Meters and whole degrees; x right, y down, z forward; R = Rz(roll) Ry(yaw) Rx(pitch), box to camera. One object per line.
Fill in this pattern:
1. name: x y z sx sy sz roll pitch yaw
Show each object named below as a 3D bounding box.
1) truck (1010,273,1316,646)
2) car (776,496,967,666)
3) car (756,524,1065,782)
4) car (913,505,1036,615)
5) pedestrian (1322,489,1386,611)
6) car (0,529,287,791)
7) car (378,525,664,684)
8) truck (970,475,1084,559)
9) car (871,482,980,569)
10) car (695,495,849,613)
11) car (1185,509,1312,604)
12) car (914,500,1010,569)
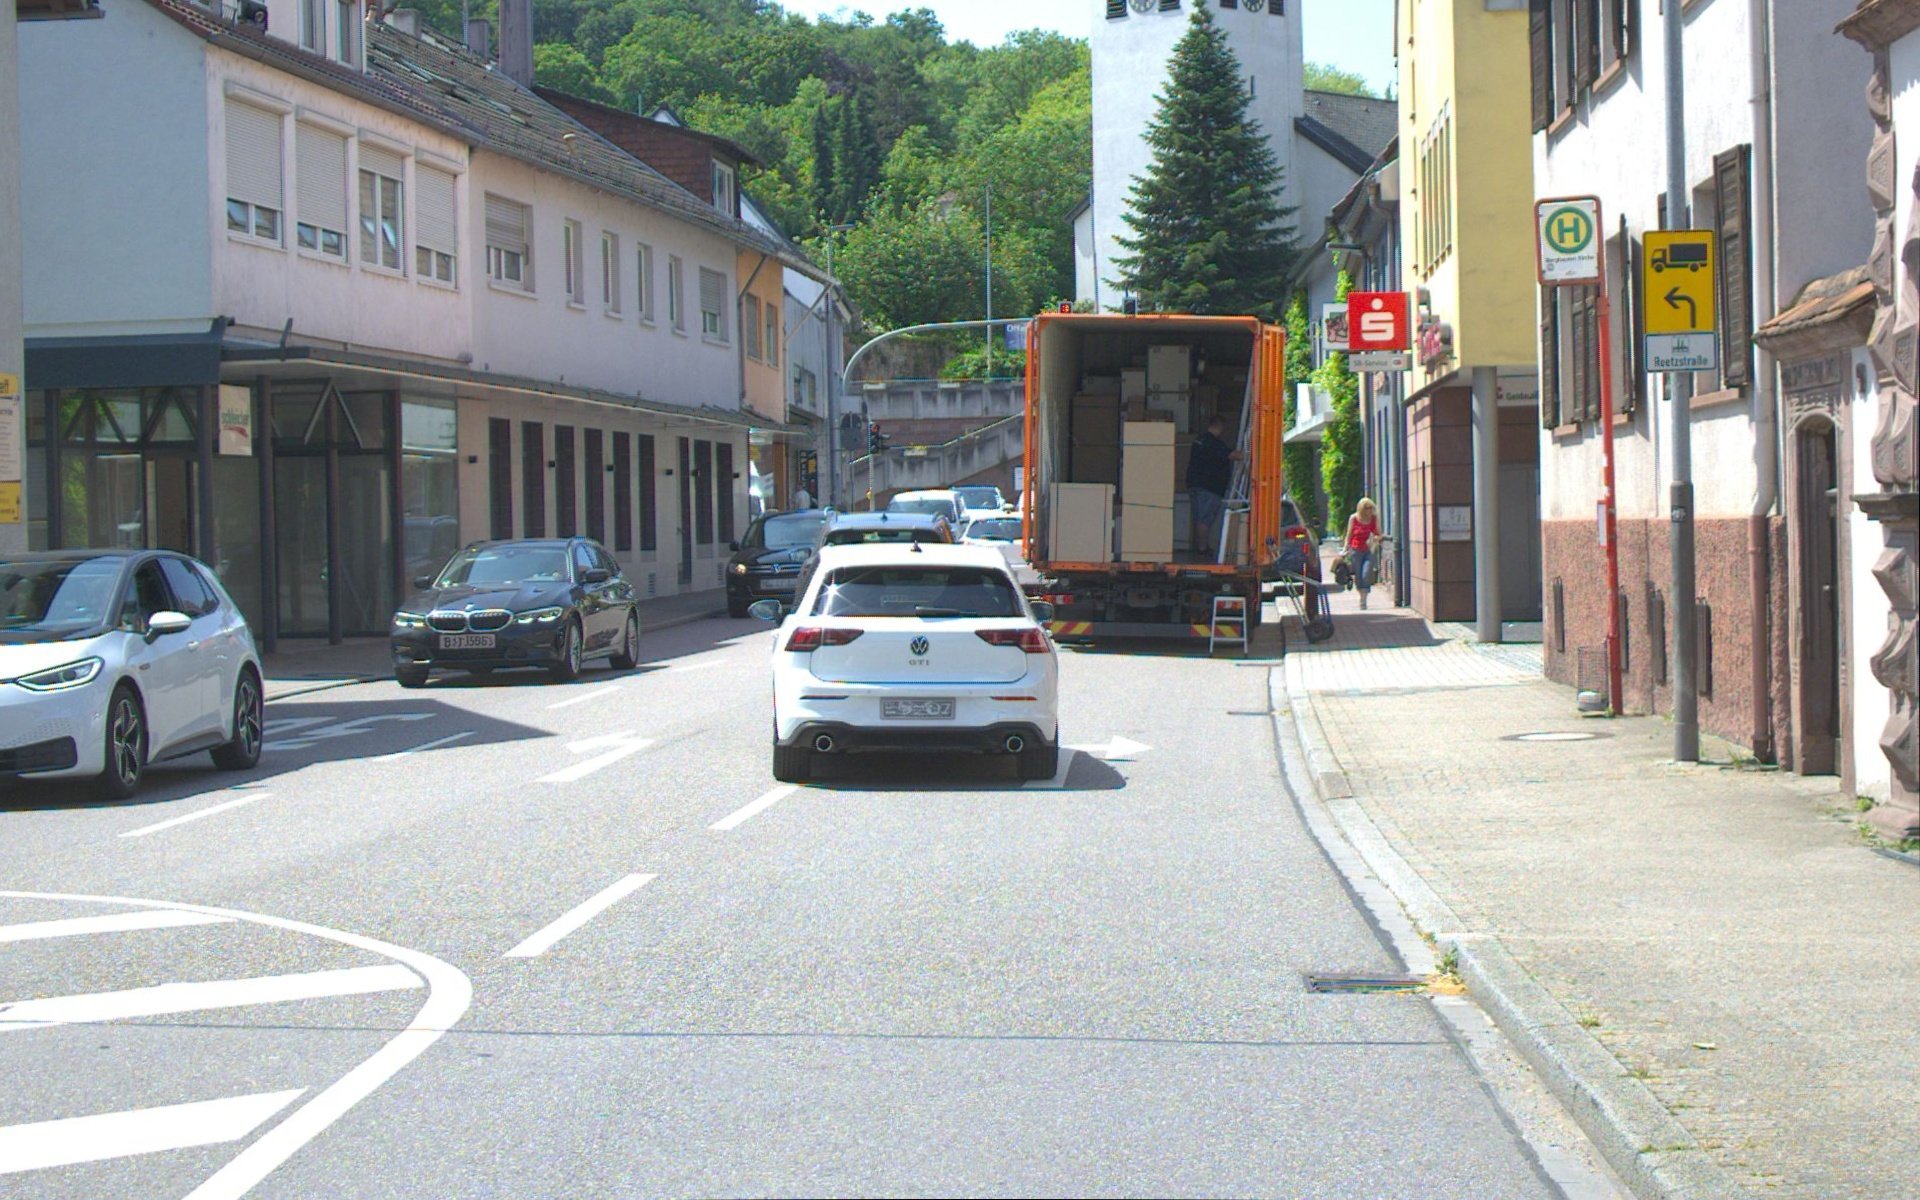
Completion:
1. truck: 2.550 -1.663 44.182 3.367 4.155 9.518 -2 1 3
2. car: -0.874 -0.207 36.013 1.815 1.623 4.000 -2 1 0
3. car: -0.277 0.290 22.223 1.815 1.514 4.000 0 1 0
4. car: 0.233 -0.635 54.481 1.815 1.623 4.000 -2 1 0
5. pedestrian: 5.778 -0.732 50.489 0.769 1.736 0.871 -2 0 -1
6. car: -5.806 0.344 22.105 1.796 1.503 4.133 -2 1 5
7. car: -4.472 0.010 35.687 1.794 1.487 4.420 -2 1 8
8. truck: 2.110 -2.554 106.273 2.119 2.466 5.732 -2 1 15
9. car: -0.717 -1.654 75.013 1.802 1.773 4.704 -2 2 6
10. car: -2.956 -0.765 54.765 1.692 1.693 4.111 -2 2 7
11. car: 4.934 -0.751 59.210 1.815 1.514 4.000 -2 1 0
12. car: 0.076 -1.679 88.704 1.994 1.645 3.999 -2 1 6
